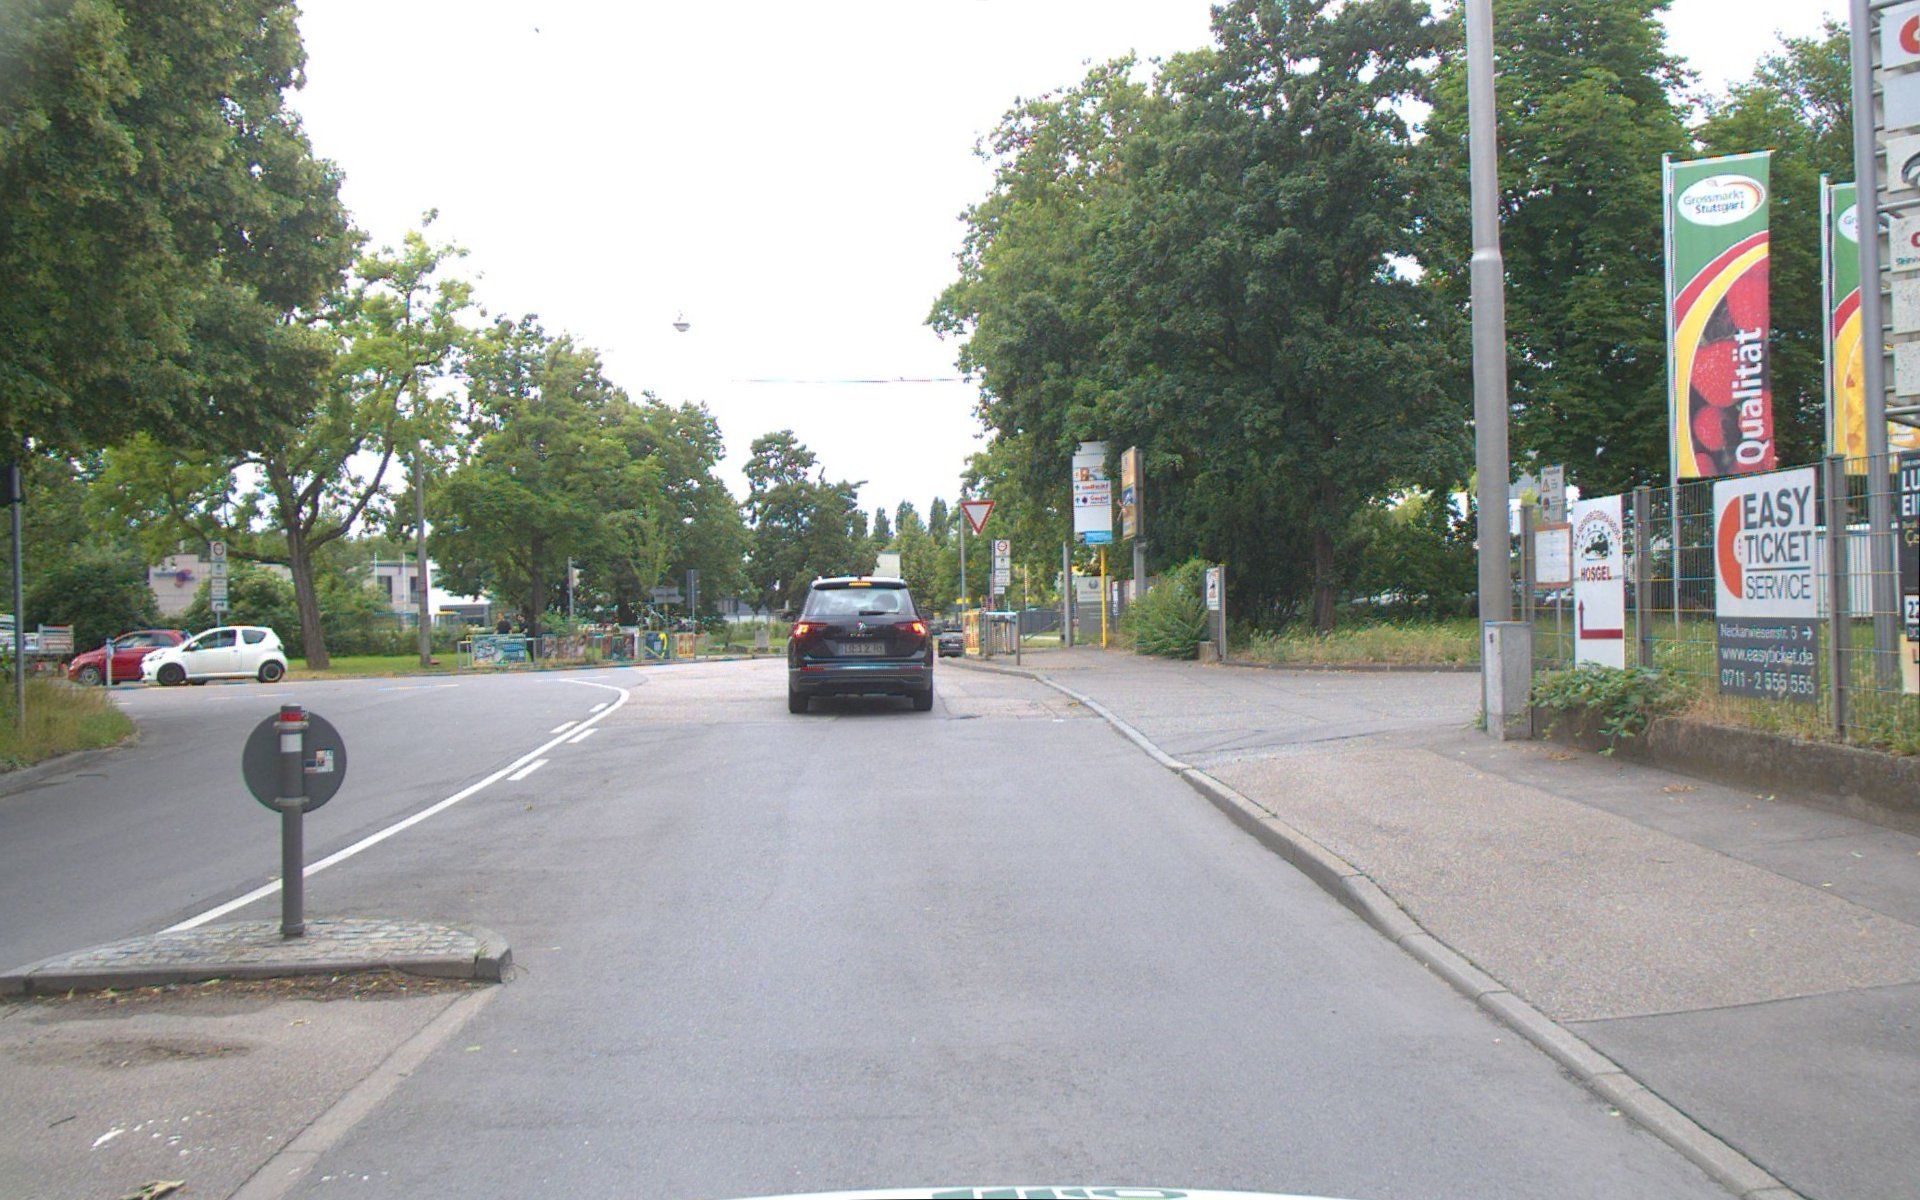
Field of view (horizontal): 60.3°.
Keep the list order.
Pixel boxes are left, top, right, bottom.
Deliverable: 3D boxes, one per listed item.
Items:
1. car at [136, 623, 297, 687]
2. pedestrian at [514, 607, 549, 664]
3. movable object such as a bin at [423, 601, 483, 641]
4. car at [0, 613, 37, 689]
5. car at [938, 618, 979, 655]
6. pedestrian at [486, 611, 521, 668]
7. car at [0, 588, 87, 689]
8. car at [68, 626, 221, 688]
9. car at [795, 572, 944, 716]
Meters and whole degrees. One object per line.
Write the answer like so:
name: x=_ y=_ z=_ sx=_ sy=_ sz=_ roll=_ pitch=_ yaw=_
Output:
car: x=-18.921 y=1.363 z=42.115 sx=3.568 sy=1.434 sz=1.724 roll=-2 pitch=0 yaw=-31
pedestrian: x=-13.619 y=1.128 z=52.582 sx=0.729 sy=1.772 sz=0.724 roll=-2 pitch=0 yaw=38
movable object such as a bin: x=-26.976 y=1.113 z=88.034 sx=1.952 sy=2.049 sz=2.400 roll=-2 pitch=0 yaw=19
car: x=-27.795 y=1.441 z=44.383 sx=4.874 sy=1.976 sz=2.049 roll=-2 pitch=0 yaw=3
car: x=-0.045 y=1.737 z=79.420 sx=1.624 sy=1.602 sz=3.830 roll=-3 pitch=0 yaw=4
pedestrian: x=-14.278 y=1.233 z=51.696 sx=0.729 sy=1.772 sz=0.724 roll=-2 pitch=0 yaw=38
car: x=-25.381 y=1.022 z=41.107 sx=5.958 sy=2.429 sz=2.390 roll=-2 pitch=0 yaw=-9
car: x=-22.022 y=1.516 z=44.749 sx=3.333 sy=1.504 sz=1.636 roll=-2 pitch=0 yaw=-11
car: x=-1.235 y=0.487 z=21.178 sx=1.705 sy=1.646 sz=3.637 roll=-1 pitch=1 yaw=-6
